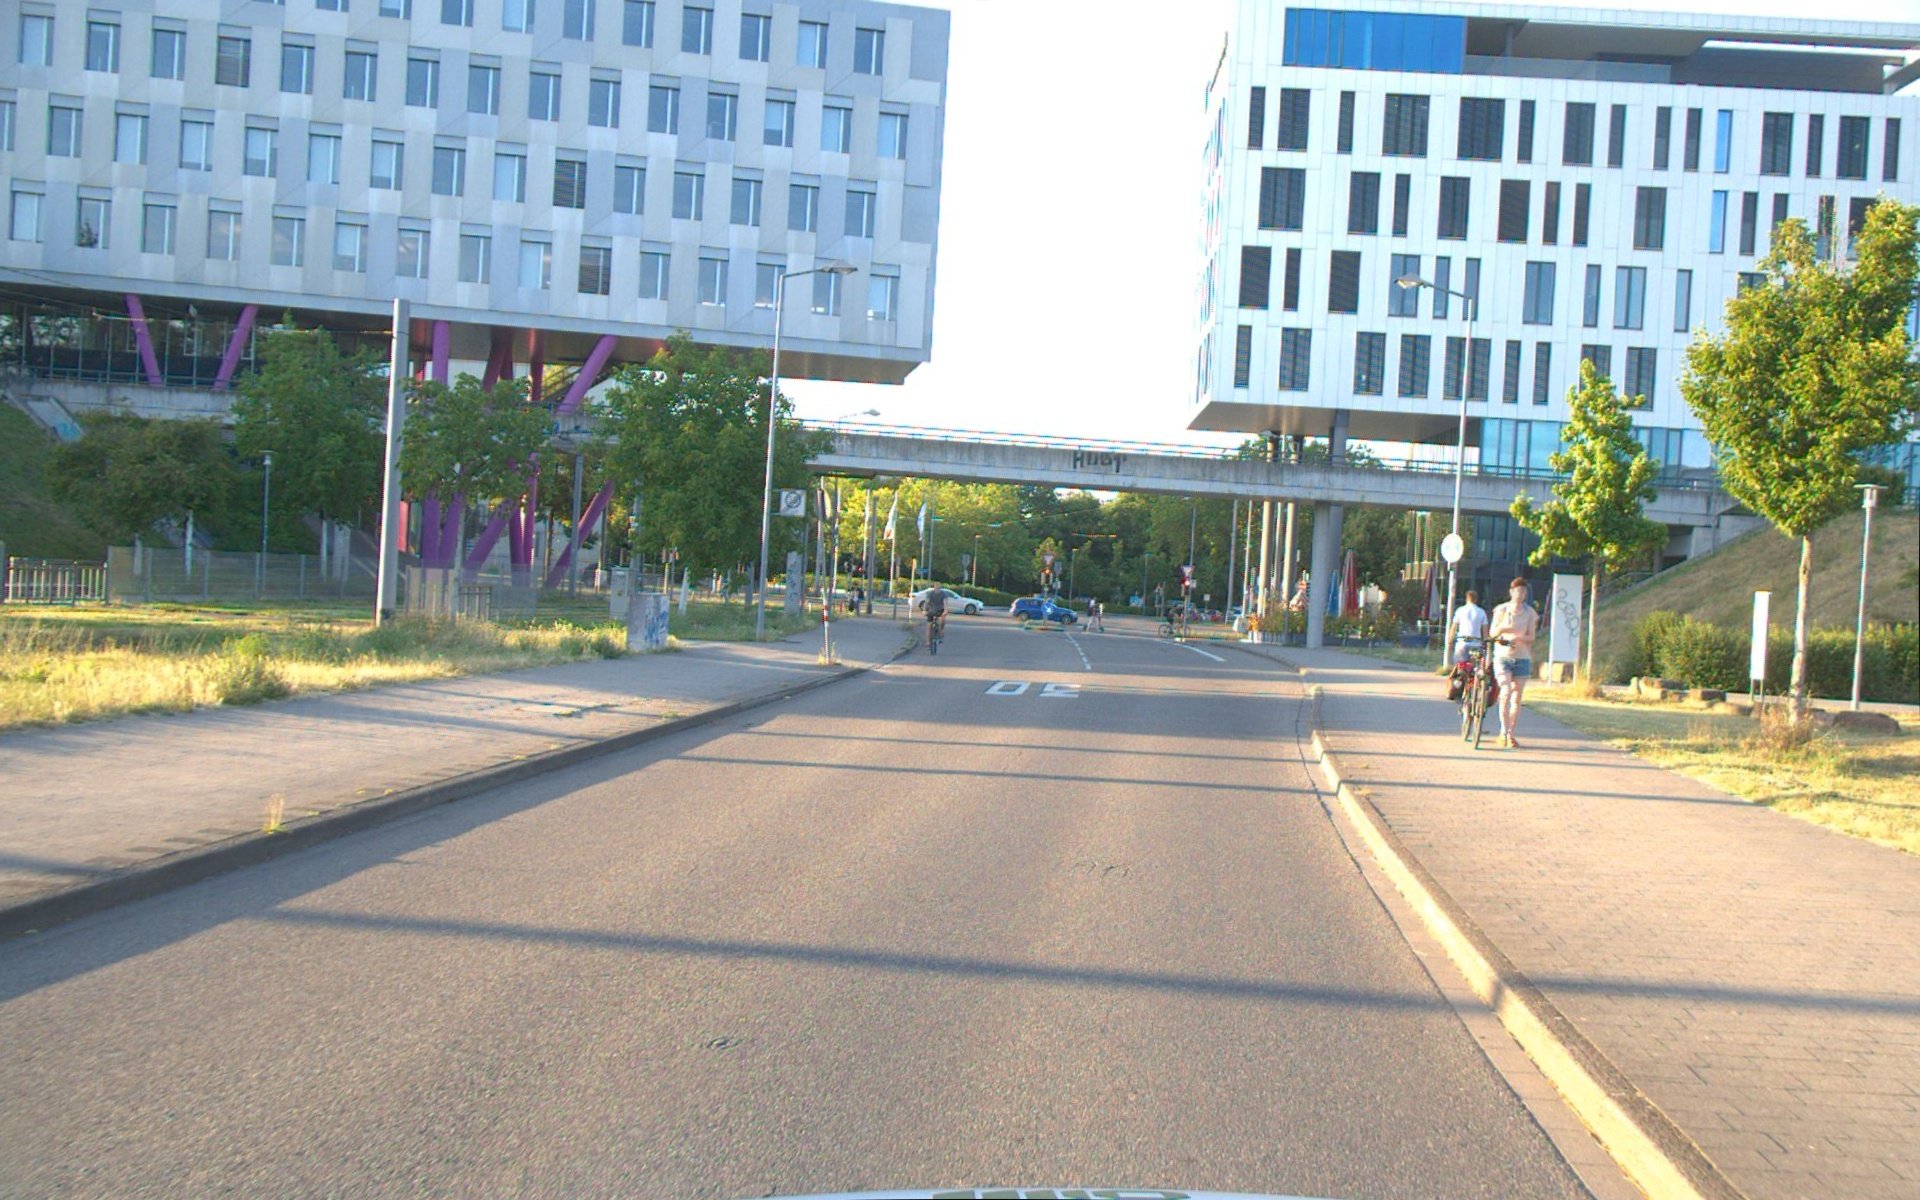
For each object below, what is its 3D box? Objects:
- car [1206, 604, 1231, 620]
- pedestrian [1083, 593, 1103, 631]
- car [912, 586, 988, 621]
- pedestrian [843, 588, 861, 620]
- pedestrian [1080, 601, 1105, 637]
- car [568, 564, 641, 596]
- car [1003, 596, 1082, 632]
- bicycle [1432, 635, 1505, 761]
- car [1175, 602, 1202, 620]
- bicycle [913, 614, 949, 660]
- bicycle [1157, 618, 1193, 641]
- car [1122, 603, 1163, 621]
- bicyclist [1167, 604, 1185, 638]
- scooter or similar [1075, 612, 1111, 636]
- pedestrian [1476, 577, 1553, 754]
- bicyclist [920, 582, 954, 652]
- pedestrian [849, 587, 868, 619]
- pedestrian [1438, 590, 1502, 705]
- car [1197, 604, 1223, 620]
[{"bbox_3d":[27.864,1.277,178.003,1.469,1.634,3.396,4,1,30],"label":"car"},{"bbox_3d":[7.320,0.641,91.016,0.891,2.025,0.771,3,1,-5],"label":"pedestrian"},{"bbox_3d":[-0.610,0.211,105.686,4.589,1.859,1.836,4,1,4],"label":"car"},{"bbox_3d":[-5.829,0.202,89.183,0.672,1.652,0.712,4,1,21],"label":"pedestrian"},{"bbox_3d":[7.078,1.025,88.519,1.034,1.865,0.893,3,1,-10],"label":"pedestrian"},{"bbox_3d":[-23.951,-1.345,111.586,4.375,1.848,1.946,3,1,2],"label":"car"},{"bbox_3d":[5.087,0.859,102.565,4.622,1.859,1.891,3,1,-6],"label":"car"},{"bbox_3d":[5.463,1.017,17.847,0.440,1.189,1.943,3,1,10],"label":"bicycle"},{"bbox_3d":[23.629,1.148,170.827,1.469,1.791,3.396,4,1,30],"label":"car"},{"bbox_3d":[-0.706,0.909,41.353,0.527,1.061,1.927,3,1,8],"label":"bicycle"},{"bbox_3d":[11.831,1.637,90.956,1.929,1.111,0.622,4,1,8],"label":"bicycle"},{"bbox_3d":[21.890,1.434,198.359,4.585,1.901,2.015,4,1,10],"label":"car"},{"bbox_3d":[11.872,1.153,90.939,0.842,1.761,0.606,3,1,8],"label":"bicyclist"},{"bbox_3d":[7.342,1.312,91.025,1.823,1.194,0.763,3,1,-5],"label":"scooter or similar"},{"bbox_3d":[5.969,0.681,17.833,0.582,1.833,0.818,3,1,11],"label":"pedestrian"},{"bbox_3d":[-0.564,0.416,41.366,0.602,1.691,1.037,3,1,8],"label":"bicyclist"},{"bbox_3d":[-5.518,0.179,89.877,0.686,1.692,0.712,4,1,21],"label":"pedestrian"},{"bbox_3d":[8.340,0.757,27.054,0.814,1.797,0.818,3,1,11],"label":"pedestrian"},{"bbox_3d":[26.406,1.291,174.682,1.469,1.634,3.396,4,1,30],"label":"car"}]
